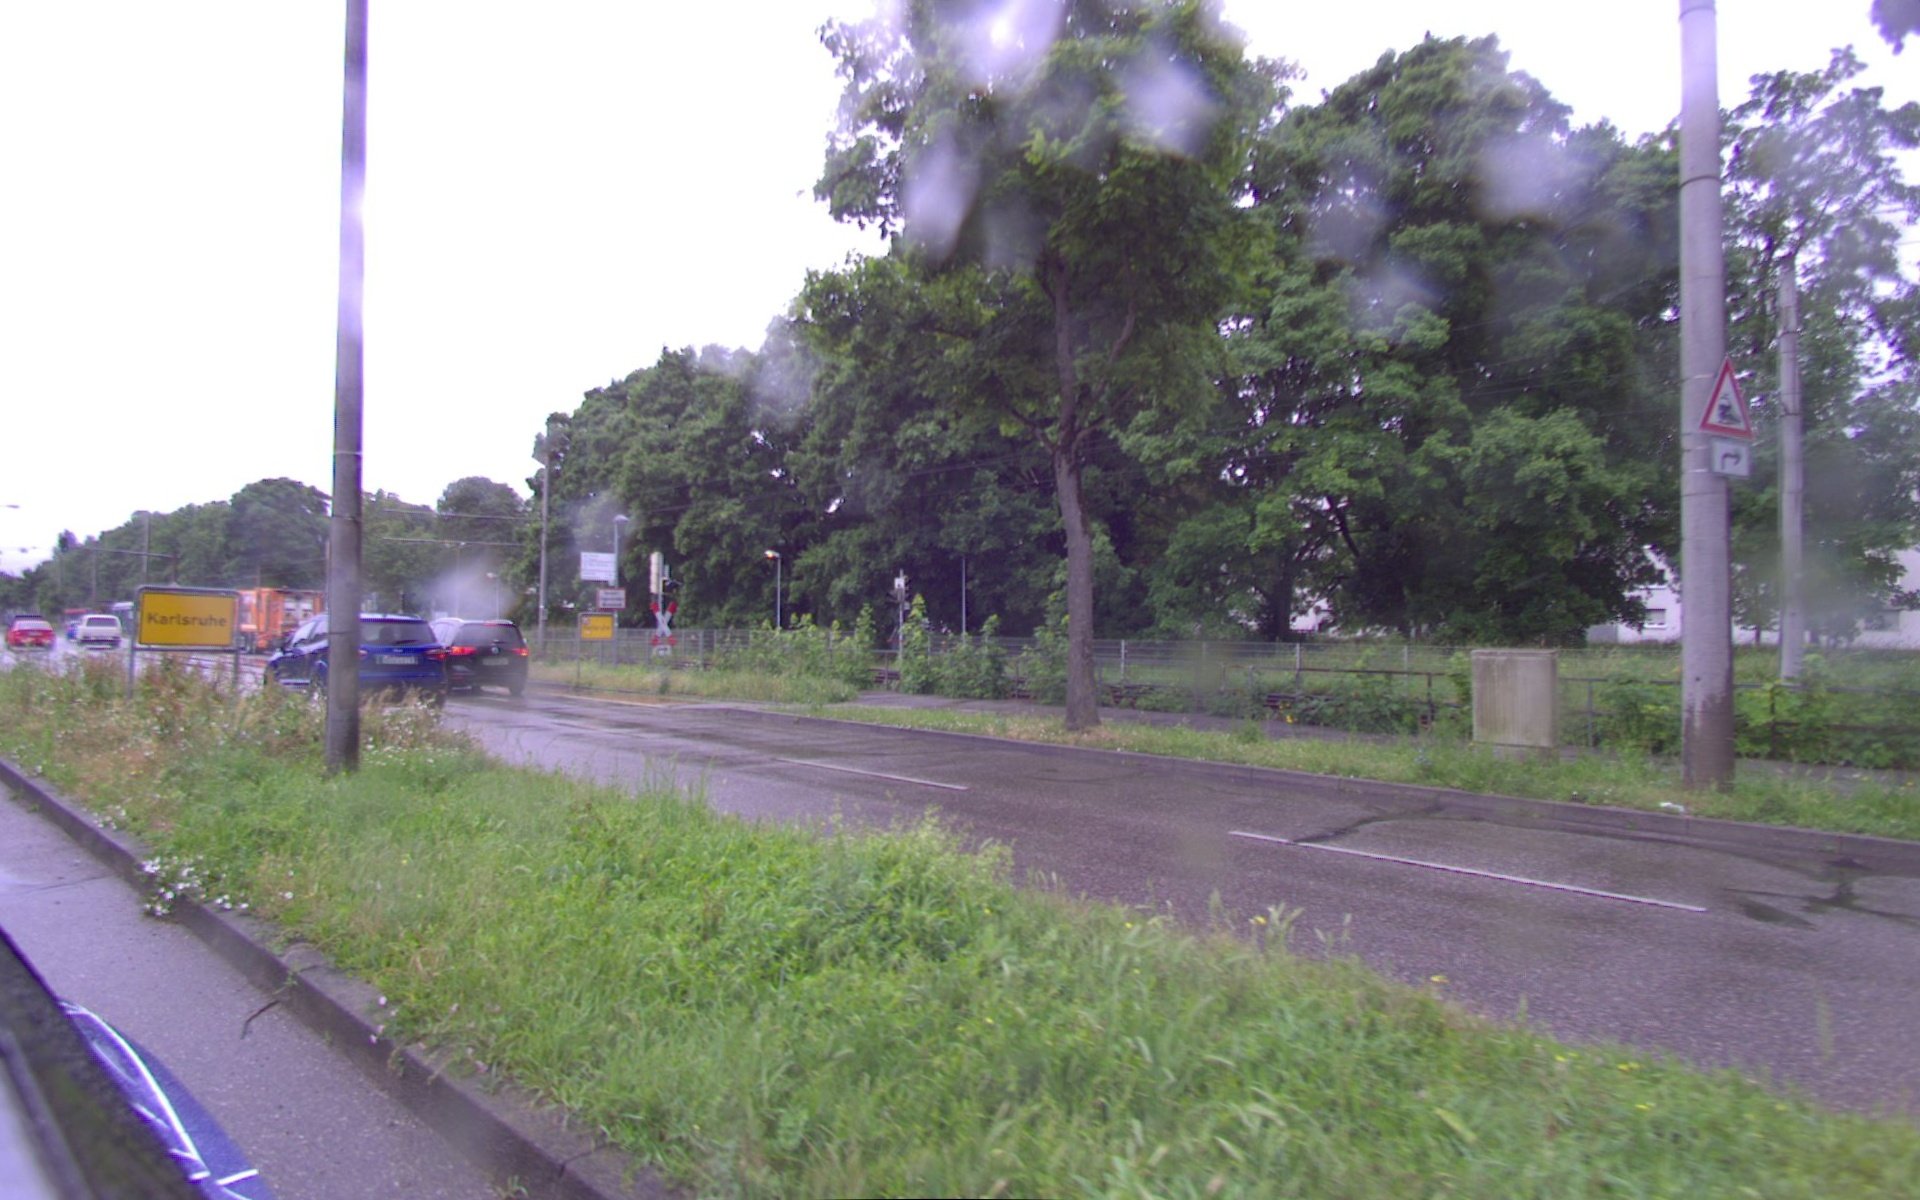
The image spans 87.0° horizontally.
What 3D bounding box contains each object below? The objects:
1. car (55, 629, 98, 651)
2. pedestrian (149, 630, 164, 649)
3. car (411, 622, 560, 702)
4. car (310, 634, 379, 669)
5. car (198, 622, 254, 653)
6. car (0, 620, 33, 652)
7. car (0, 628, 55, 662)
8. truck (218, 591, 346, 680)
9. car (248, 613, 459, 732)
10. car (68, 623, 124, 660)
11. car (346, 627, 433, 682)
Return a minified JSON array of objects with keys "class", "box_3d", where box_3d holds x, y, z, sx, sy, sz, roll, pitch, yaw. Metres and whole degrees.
[{"class":"car","box_3d":[-59.919,2.699,68.600,3.998,1.438,1.623,-1,-4,42]},{"class":"pedestrian","box_3d":[-69.605,3.427,87.695,0.800,1.670,0.776,-1,0,26]},{"class":"car","box_3d":[-10.896,1.381,23.106,1.687,1.654,4.333,4,-4,-44]},{"class":"car","box_3d":[-26.746,2.232,43.929,3.686,1.389,1.570,-1,-5,43]},{"class":"car","box_3d":[-43.571,2.178,60.050,4.529,1.722,1.971,-1,0,45]},{"class":"car","box_3d":[-56.102,2.119,59.576,5.089,1.787,1.785,-2,-4,43]},{"class":"car","box_3d":[-47.413,2.269,51.324,4.429,1.581,1.781,0,-3,43]},{"class":"truck","box_3d":[-35.389,1.713,52.592,10.408,4.199,3.347,-1,0,44]},{"class":"car","box_3d":[-9.778,1.103,16.193,4.135,1.663,1.725,-2,-4,42]},{"class":"car","box_3d":[-49.898,2.416,58.413,4.744,2.033,1.907,-2,-4,44]},{"class":"car","box_3d":[-21.788,2.001,38.546,1.969,1.841,4.778,-1,0,-41]}]
